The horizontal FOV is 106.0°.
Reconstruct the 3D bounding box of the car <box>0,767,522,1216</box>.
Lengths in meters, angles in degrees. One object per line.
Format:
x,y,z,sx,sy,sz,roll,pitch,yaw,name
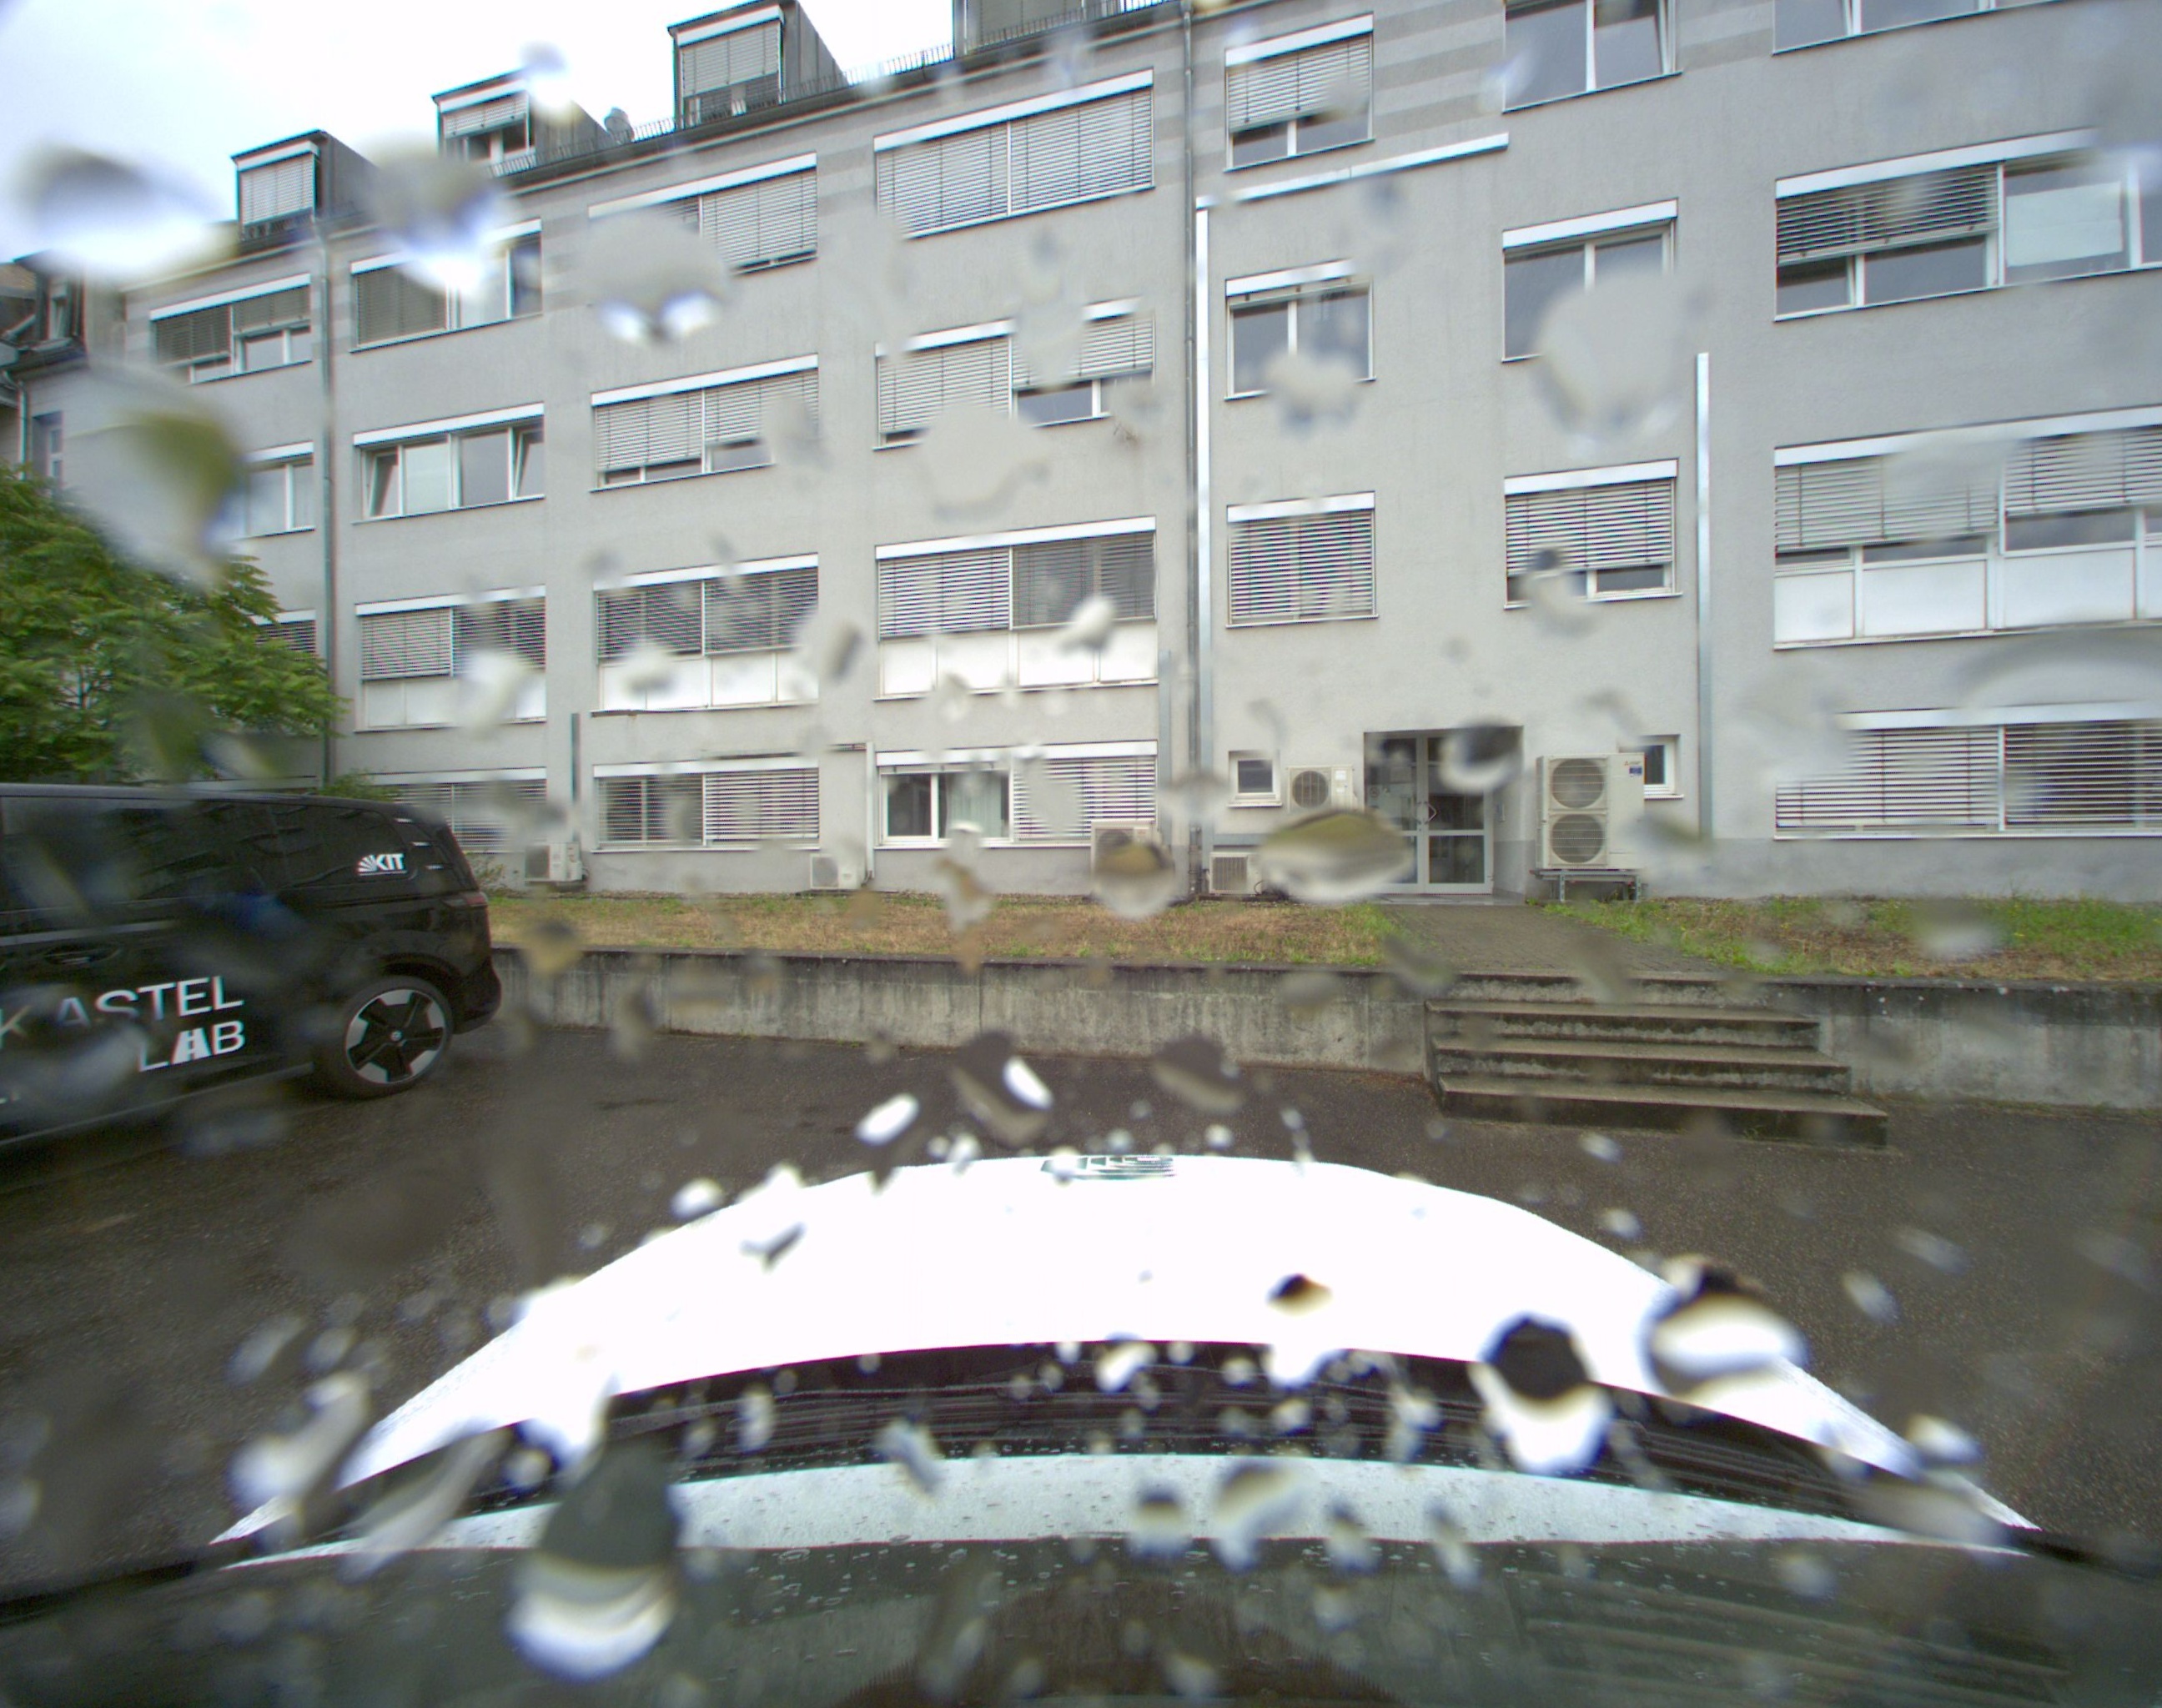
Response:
-5.533,0.601,3.829,2.026,1.897,4.539,-1,0,13,car
